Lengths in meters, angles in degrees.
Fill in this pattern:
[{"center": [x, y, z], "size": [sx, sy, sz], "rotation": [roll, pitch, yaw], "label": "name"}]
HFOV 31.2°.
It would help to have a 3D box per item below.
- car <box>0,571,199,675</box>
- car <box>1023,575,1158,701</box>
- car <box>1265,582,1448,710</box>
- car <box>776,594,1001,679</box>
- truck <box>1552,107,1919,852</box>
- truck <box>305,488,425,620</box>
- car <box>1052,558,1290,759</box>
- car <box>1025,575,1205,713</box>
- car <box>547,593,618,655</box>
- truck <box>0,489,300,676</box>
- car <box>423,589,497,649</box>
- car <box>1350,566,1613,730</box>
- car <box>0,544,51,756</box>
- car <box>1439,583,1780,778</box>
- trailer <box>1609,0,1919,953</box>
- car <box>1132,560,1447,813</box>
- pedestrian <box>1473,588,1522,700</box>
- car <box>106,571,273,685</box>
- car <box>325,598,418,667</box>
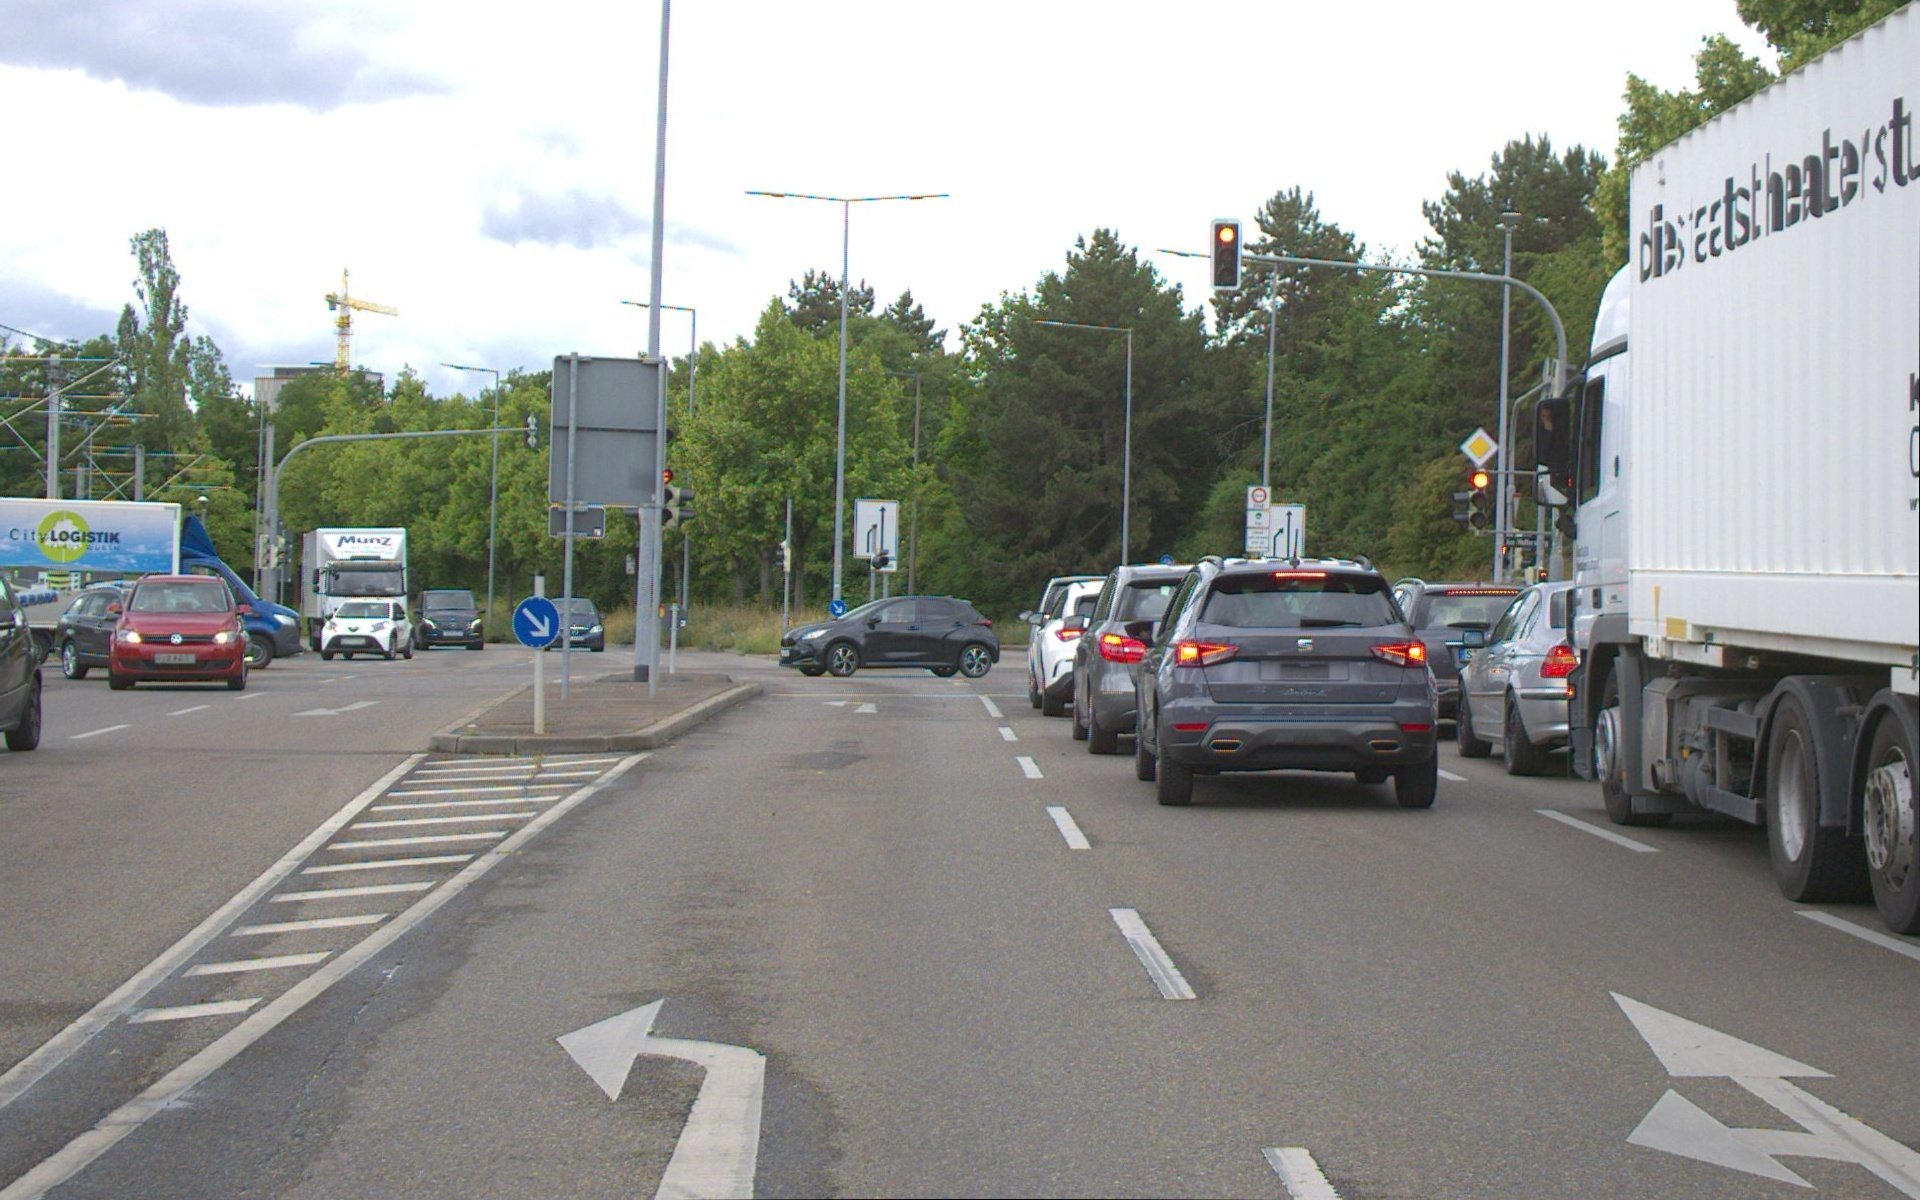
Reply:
[{"center": [-14.527, 0.344, 55.369], "size": [3.988, 1.590, 1.999], "rotation": [1, 1, 9], "label": "car"}, {"center": [1.585, 0.460, 42.515], "size": [1.535, 1.499, 2.670], "rotation": [0, 0, -1], "label": "car"}, {"center": [4.542, 0.513, 39.838], "size": [1.545, 1.399, 4.000], "rotation": [0, 0, -2], "label": "car"}, {"center": [-1.312, 0.645, 62.269], "size": [3.925, 1.491, 1.599], "rotation": [0, 1, -8], "label": "car"}, {"center": [4.930, -0.631, 19.111], "size": [2.571, 3.693, 4.106], "rotation": [0, 1, 0], "label": "truck"}, {"center": [-17.450, -1.339, 101.329], "size": [2.659, 3.636, 9.504], "rotation": [1, 0, -5], "label": "truck"}, {"center": [1.681, 0.426, 28.580], "size": [1.799, 1.518, 4.187], "rotation": [0, 1, 1], "label": "car"}, {"center": [1.635, 0.451, 37.497], "size": [1.721, 1.417, 4.356], "rotation": [0, 0, -1], "label": "car"}, {"center": [-11.182, 0.690, 101.604], "size": [1.915, 1.570, 4.002], "rotation": [0, 3, -9], "label": "car"}, {"center": [-17.008, -0.391, 68.773], "size": [7.237, 3.586, 2.693], "rotation": [-1, 3, -16], "label": "truck"}, {"center": [-15.461, 0.570, 106.386], "size": [1.915, 1.722, 4.001], "rotation": [0, 2, -3], "label": "car"}, {"center": [4.790, 0.424, 32.126], "size": [1.825, 1.430, 4.213], "rotation": [0, 0, 0], "label": "car"}, {"center": [-7.993, 0.372, 25.717], "size": [1.725, 1.568, 3.707], "rotation": [0, 0, -5], "label": "car"}, {"center": [4.785, 0.552, 25.860], "size": [1.812, 1.349, 4.118], "rotation": [0, 0, 0], "label": "car"}, {"center": [4.914, -0.550, 15.337], "size": [2.566, 3.693, 7.764], "rotation": [0, 1, 0], "label": "trailer"}, {"center": [2.042, 0.499, 22.277], "size": [1.698, 1.481, 4.000], "rotation": [0, 0, 1], "label": "car"}, {"center": [7.009, 0.567, 44.813], "size": [0.611, 1.448, 0.353], "rotation": [1, 1, 8], "label": "pedestrian"}, {"center": [-10.482, 0.350, 47.003], "size": [1.702, 1.483, 4.087], "rotation": [0, 1, -5], "label": "car"}, {"center": [-14.511, 0.785, 84.915], "size": [1.775, 1.502, 3.747], "rotation": [1, 2, -2], "label": "car"}]
